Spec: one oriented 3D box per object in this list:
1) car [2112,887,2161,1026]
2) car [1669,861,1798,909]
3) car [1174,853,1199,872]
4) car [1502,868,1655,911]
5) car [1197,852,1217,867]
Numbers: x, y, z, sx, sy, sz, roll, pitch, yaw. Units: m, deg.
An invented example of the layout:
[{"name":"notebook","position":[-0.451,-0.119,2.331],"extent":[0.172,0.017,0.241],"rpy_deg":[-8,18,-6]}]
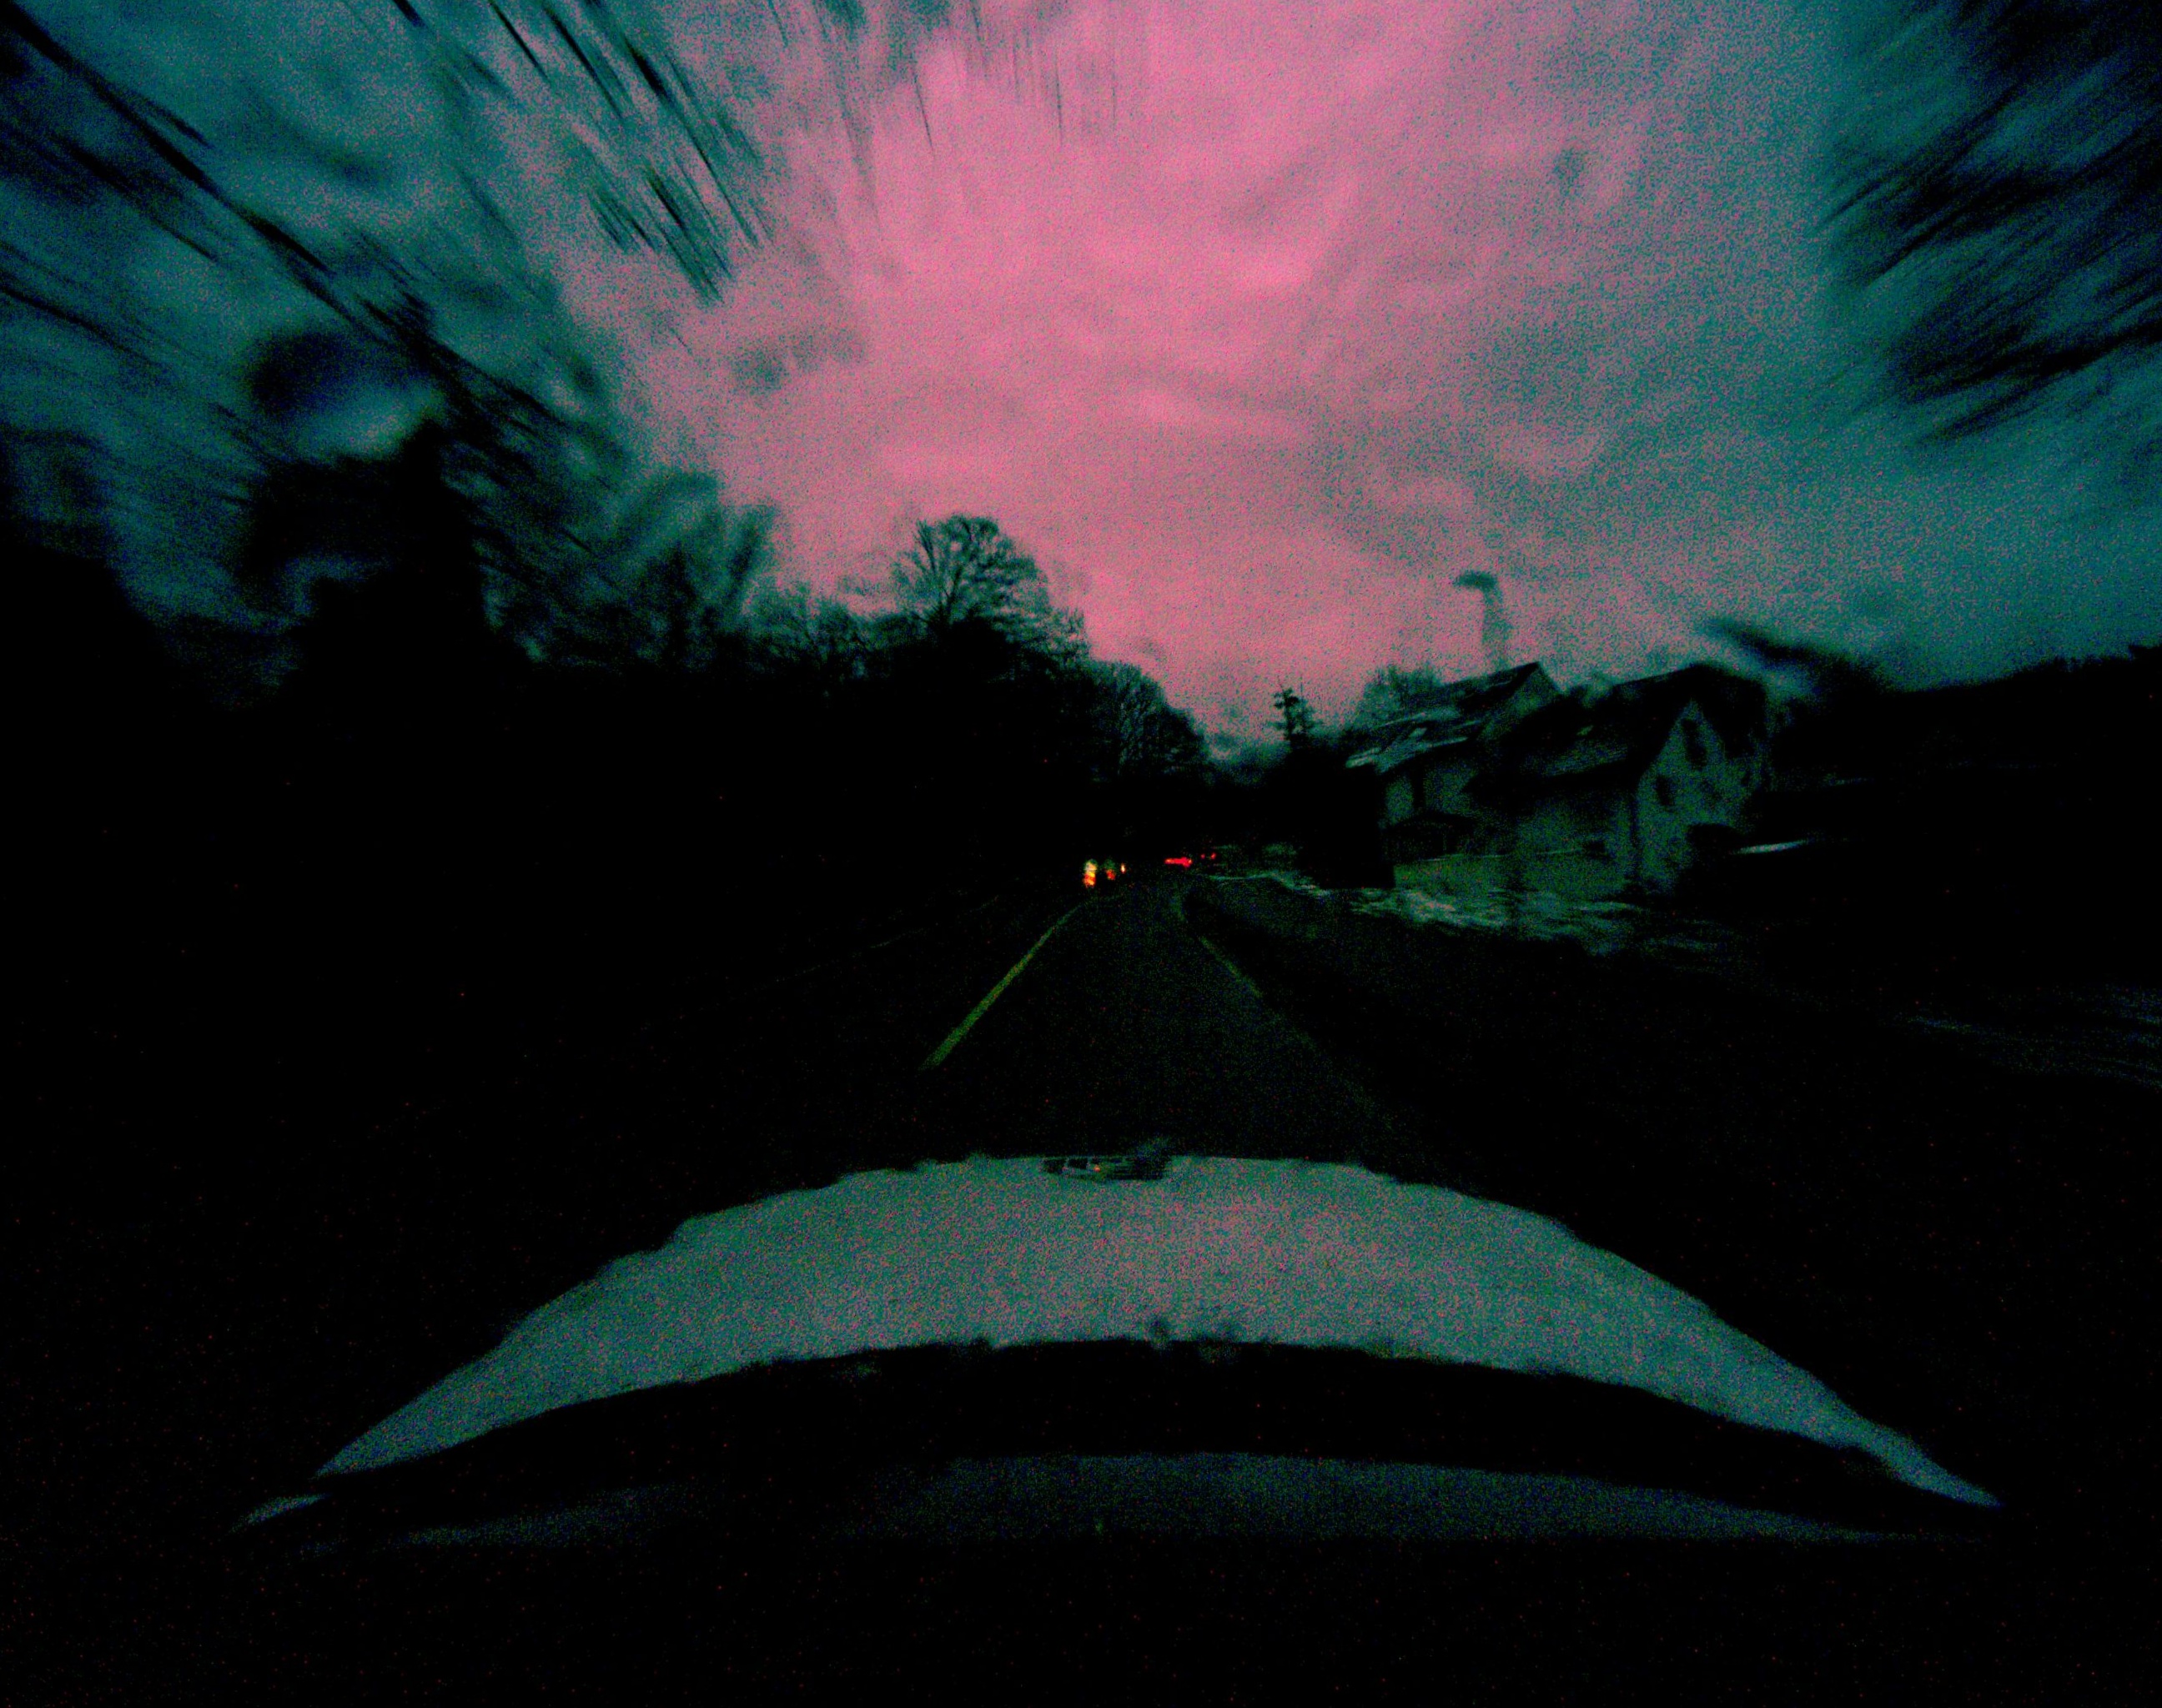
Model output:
[{"name":"car","position":[14.526,1.153,9.127],"extent":[3.772,1.597,1.802],"rpy_deg":[-2,0,-2]},{"name":"car","position":[25.146,1.133,31.590],"extent":[1.935,1.591,4.348],"rpy_deg":[-2,0,8]},{"name":"car","position":[10.785,0.862,82.705],"extent":[1.918,1.781,4.016],"rpy_deg":[-2,0,15]},{"name":"car","position":[19.730,1.382,32.461],"extent":[4.847,1.488,1.964],"rpy_deg":[-2,0,44]},{"name":"car","position":[14.728,0.636,94.982],"extent":[1.919,1.676,4.014],"rpy_deg":[-2,0,13]}]
